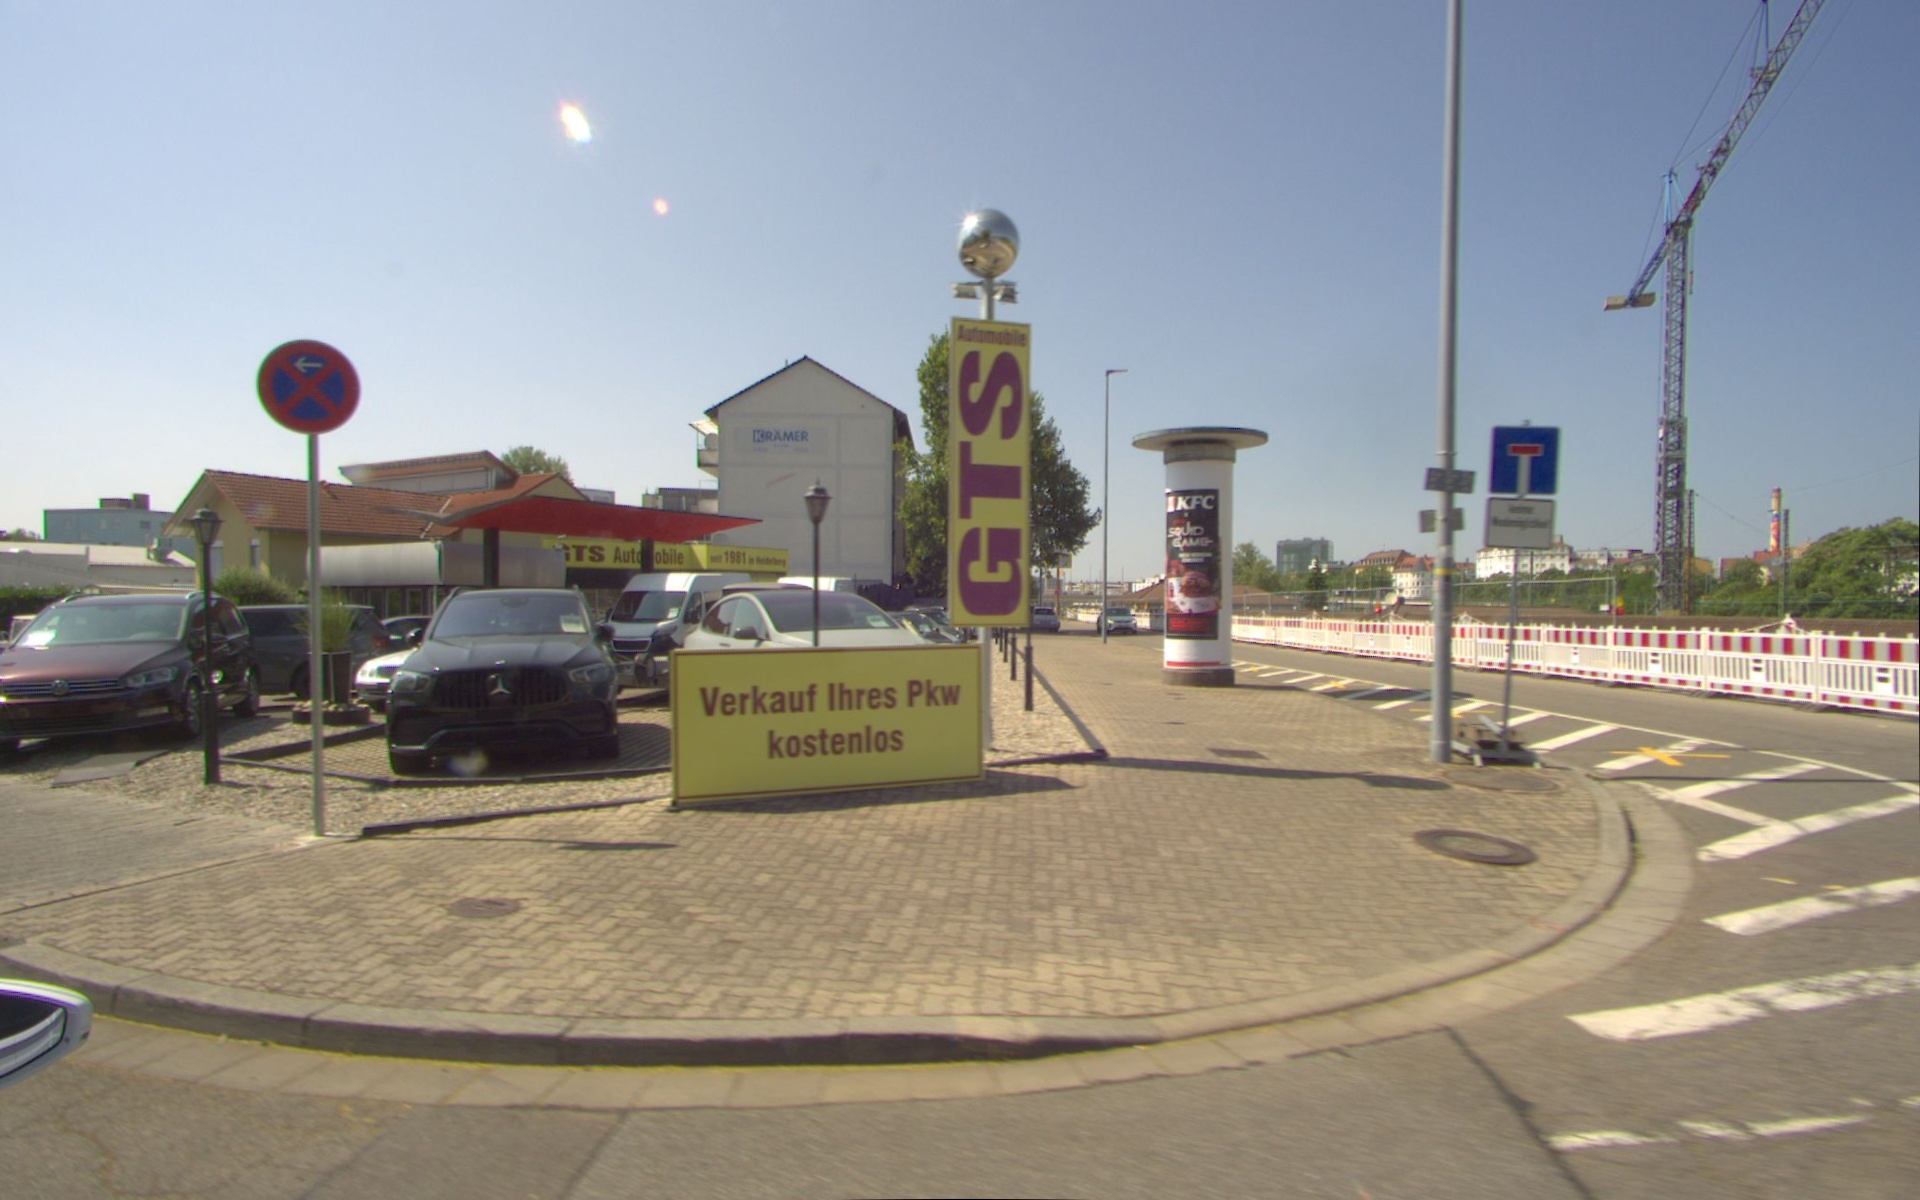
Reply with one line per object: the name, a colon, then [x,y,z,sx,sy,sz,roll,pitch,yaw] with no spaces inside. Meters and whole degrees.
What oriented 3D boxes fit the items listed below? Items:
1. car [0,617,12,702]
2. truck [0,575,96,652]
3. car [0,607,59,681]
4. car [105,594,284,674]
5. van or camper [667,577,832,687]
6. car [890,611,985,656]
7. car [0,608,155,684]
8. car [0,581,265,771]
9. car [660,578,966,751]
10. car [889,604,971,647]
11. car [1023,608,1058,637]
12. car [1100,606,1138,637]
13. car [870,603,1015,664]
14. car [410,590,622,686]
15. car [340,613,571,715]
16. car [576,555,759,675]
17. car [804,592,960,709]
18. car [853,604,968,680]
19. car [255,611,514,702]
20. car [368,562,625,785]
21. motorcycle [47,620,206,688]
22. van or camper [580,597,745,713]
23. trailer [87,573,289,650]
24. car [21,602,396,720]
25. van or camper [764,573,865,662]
car: [-20.103,1.151,18.222,1.733,1.645,3.798,0,0,29]
truck: [-47.035,0.653,47.851,2.911,3.658,8.258,0,-1,33]
car: [-26.010,1.167,26.621,3.732,1.883,1.992,-1,-2,30]
car: [-21.166,0.895,27.676,4.828,2.040,1.993,-1,0,26]
van or camper: [-4.754,0.729,23.596,2.071,2.290,5.506,0,-1,8]
car: [-0.860,1.164,35.971,1.700,1.499,4.032,0,-1,-30]
car: [-22.206,1.090,24.994,3.940,1.750,1.991,-1,0,30]
car: [-9.625,0.751,11.643,1.824,1.805,4.274,-1,-1,-25]
car: [-2.054,0.682,12.469,1.990,1.714,4.789,0,-1,-33]
car: [-1.296,1.032,41.383,1.700,1.661,4.032,0,0,-30]
car: [4.891,1.337,60.488,1.961,1.661,4.000,0,-1,7]
car: [8.908,1.212,56.338,1.961,1.661,4.000,0,-1,7]
car: [-0.536,0.896,27.983,3.959,1.576,1.832,-1,-1,44]
car: [-11.114,0.849,25.265,4.528,2.180,1.907,-1,1,-42]
car: [-8.603,1.020,17.558,1.888,1.554,4.208,-1,-1,1]
car: [-7.320,0.314,25.969,2.216,2.715,6.015,-1,1,8]
car: [-1.446,0.776,16.996,1.828,1.728,3.993,0,-1,-17]
car: [-1.213,0.894,22.607,1.619,1.570,3.751,0,-1,-19]
car: [-12.143,1.129,21.276,4.523,1.657,1.911,-1,-1,-39]
car: [-4.888,0.638,10.728,1.985,1.802,4.801,0,-1,-24]
motorcycle: [-19.166,1.202,23.140,0.993,1.452,2.685,0,0,20]
van or camper: [-4.894,0.848,17.087,1.962,1.706,4.293,0,-1,-7]
trailer: [-42.127,0.644,54.991,3.027,3.913,8.309,0,0,35]
car: [-12.657,0.937,17.312,4.931,1.785,1.913,0,0,-34]
van or camper: [-4.283,0.512,30.275,1.961,2.468,4.935,0,0,4]
